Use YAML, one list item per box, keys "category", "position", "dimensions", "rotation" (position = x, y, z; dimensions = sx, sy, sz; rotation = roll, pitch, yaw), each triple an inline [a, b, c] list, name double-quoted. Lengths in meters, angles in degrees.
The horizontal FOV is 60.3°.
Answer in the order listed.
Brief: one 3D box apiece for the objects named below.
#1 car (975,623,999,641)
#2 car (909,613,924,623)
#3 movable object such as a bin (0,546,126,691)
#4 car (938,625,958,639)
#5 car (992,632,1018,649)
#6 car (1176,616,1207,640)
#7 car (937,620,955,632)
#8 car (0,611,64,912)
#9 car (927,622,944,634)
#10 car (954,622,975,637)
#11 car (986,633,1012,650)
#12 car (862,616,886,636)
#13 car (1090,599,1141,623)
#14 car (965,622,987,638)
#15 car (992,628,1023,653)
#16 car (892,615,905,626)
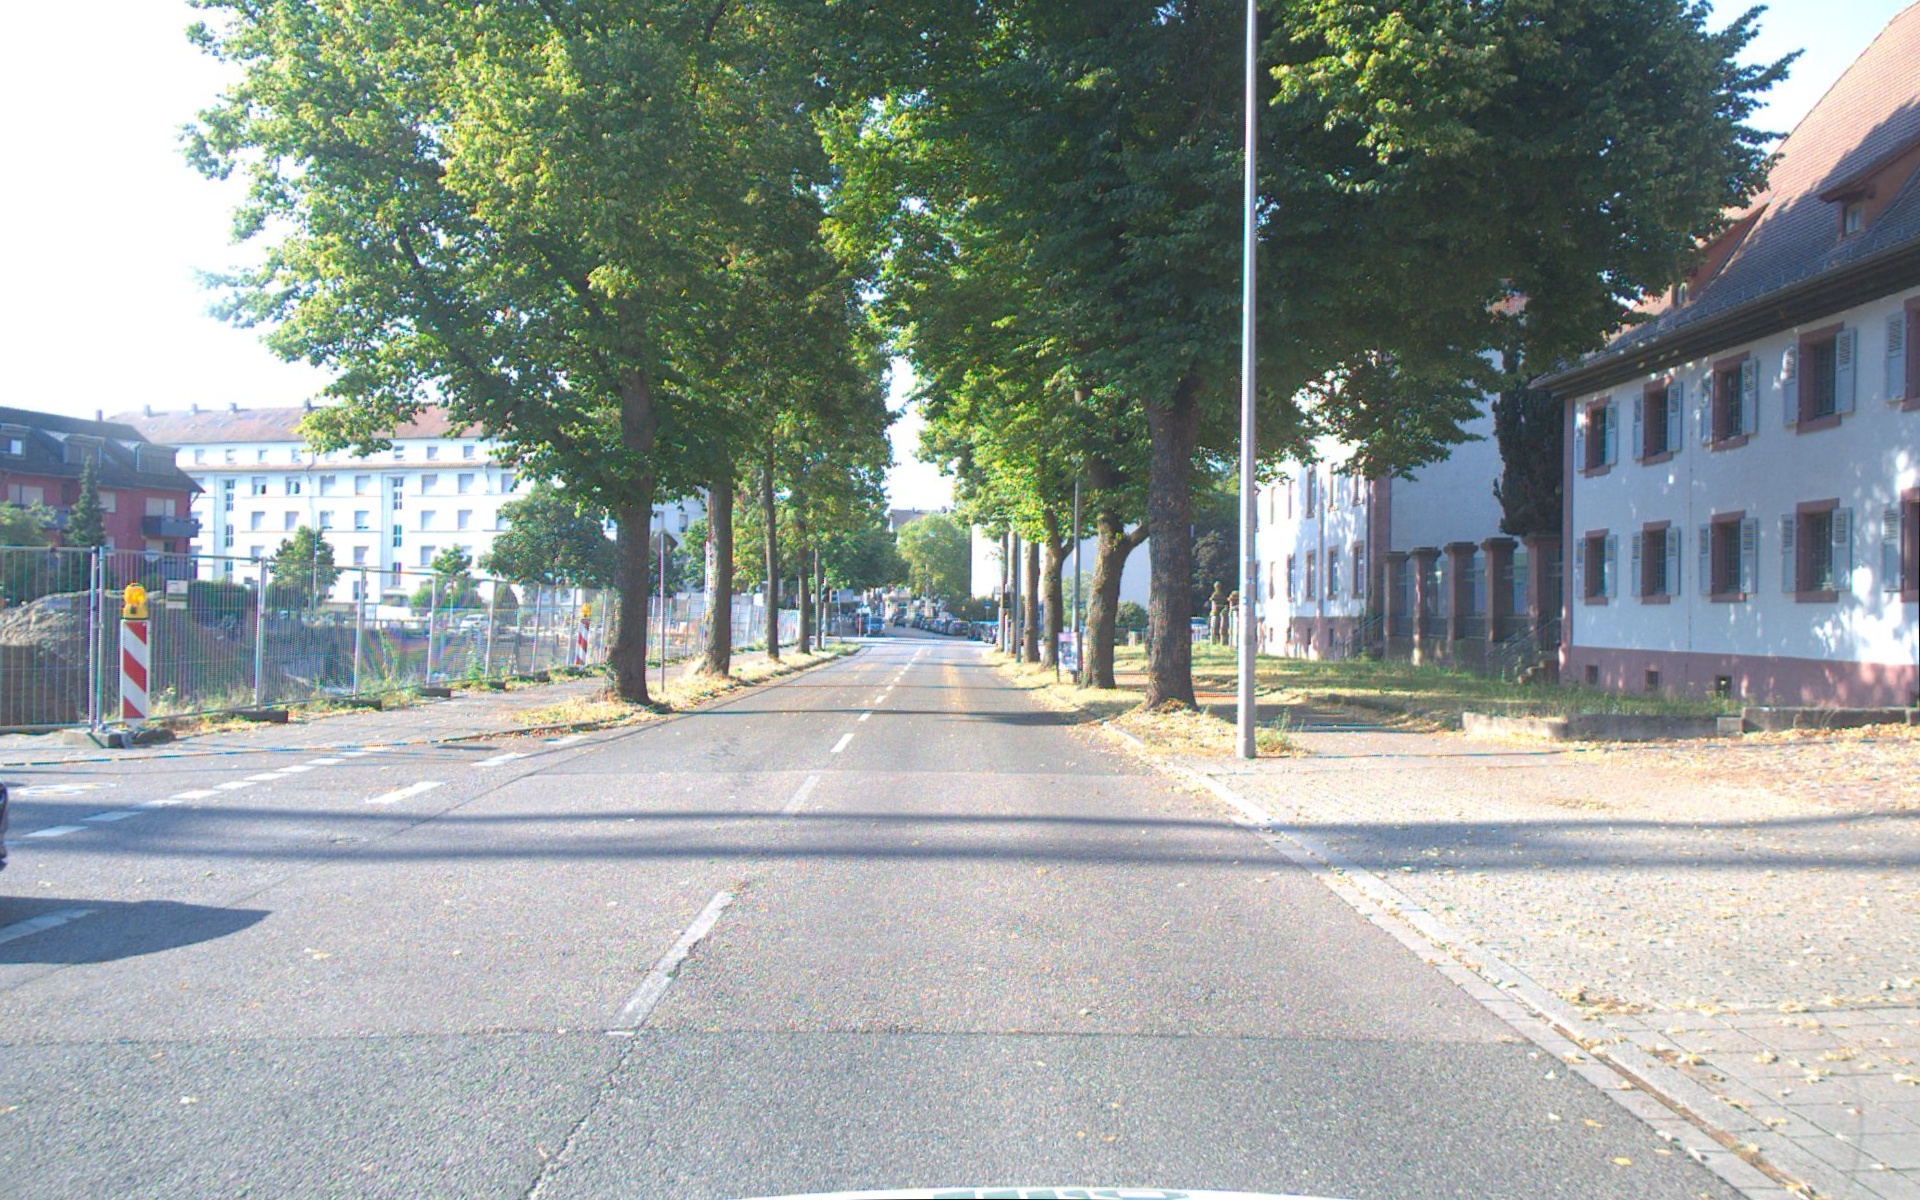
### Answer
- category: "car"
  position: [2.209, 2.631, 136.548]
  dimensions: [1.804, 1.283, 3.999]
  rotation: [-2, 0, -1]
- category: "car"
  position: [-6.200, 2.562, 234.336]
  dimensions: [1.806, 1.410, 3.995]
  rotation: [0, 0, -6]
- category: "movable object such as a bin"
  position: [-35.161, 0.673, 57.955]
  dimensions: [2.948, 5.081, 11.560]
  rotation: [-2, -1, 21]
- category: "car"
  position: [-1.252, 3.305, 172.496]
  dimensions: [1.805, 1.410, 3.996]
  rotation: [0, -1, -4]
- category: "car"
  position: [3.257, 2.957, 120.961]
  dimensions: [1.743, 1.248, 3.999]
  rotation: [0, -1, -1]
- category: "car"
  position: [16.978, 2.073, 121.344]
  dimensions: [1.775, 1.587, 3.626]
  rotation: [3, -2, 2]
- category: "car"
  position: [-1.602, 2.908, 184.393]
  dimensions: [1.805, 1.410, 3.996]
  rotation: [0, -1, -4]
- category: "car"
  position: [-6.675, 0.801, 8.010]
  dimensions: [3.764, 1.499, 1.651]
  rotation: [0, -1, 1]
- category: "car"
  position: [-3.053, 3.464, 205.057]
  dimensions: [1.805, 1.410, 3.996]
  rotation: [0, -1, -4]
- category: "car"
  position: [0.402, 2.866, 161.348]
  dimensions: [1.805, 1.410, 3.996]
  rotation: [0, 0, -4]
- category: "car"
  position: [2.967, 3.129, 126.119]
  dimensions: [1.804, 1.283, 3.999]
  rotation: [0, -1, -1]
- category: "car"
  position: [-7.752, 2.335, 148.474]
  dimensions: [1.955, 1.717, 3.994]
  rotation: [1, -2, -6]
- category: "car"
  position: [12.606, 0.865, 134.087]
  dimensions: [3.905, 1.758, 1.773]
  rotation: [2, -1, 0]
- category: "car"
  position: [1.372, 2.610, 143.631]
  dimensions: [1.804, 1.283, 3.999]
  rotation: [0, -1, -1]
- category: "car"
  position: [3.123, 2.684, 109.392]
  dimensions: [1.804, 1.602, 3.999]
  rotation: [0, -1, -1]
- category: "car"
  position: [-8.897, 2.966, 239.266]
  dimensions: [1.680, 1.512, 3.996]
  rotation: [0, -1, -4]
